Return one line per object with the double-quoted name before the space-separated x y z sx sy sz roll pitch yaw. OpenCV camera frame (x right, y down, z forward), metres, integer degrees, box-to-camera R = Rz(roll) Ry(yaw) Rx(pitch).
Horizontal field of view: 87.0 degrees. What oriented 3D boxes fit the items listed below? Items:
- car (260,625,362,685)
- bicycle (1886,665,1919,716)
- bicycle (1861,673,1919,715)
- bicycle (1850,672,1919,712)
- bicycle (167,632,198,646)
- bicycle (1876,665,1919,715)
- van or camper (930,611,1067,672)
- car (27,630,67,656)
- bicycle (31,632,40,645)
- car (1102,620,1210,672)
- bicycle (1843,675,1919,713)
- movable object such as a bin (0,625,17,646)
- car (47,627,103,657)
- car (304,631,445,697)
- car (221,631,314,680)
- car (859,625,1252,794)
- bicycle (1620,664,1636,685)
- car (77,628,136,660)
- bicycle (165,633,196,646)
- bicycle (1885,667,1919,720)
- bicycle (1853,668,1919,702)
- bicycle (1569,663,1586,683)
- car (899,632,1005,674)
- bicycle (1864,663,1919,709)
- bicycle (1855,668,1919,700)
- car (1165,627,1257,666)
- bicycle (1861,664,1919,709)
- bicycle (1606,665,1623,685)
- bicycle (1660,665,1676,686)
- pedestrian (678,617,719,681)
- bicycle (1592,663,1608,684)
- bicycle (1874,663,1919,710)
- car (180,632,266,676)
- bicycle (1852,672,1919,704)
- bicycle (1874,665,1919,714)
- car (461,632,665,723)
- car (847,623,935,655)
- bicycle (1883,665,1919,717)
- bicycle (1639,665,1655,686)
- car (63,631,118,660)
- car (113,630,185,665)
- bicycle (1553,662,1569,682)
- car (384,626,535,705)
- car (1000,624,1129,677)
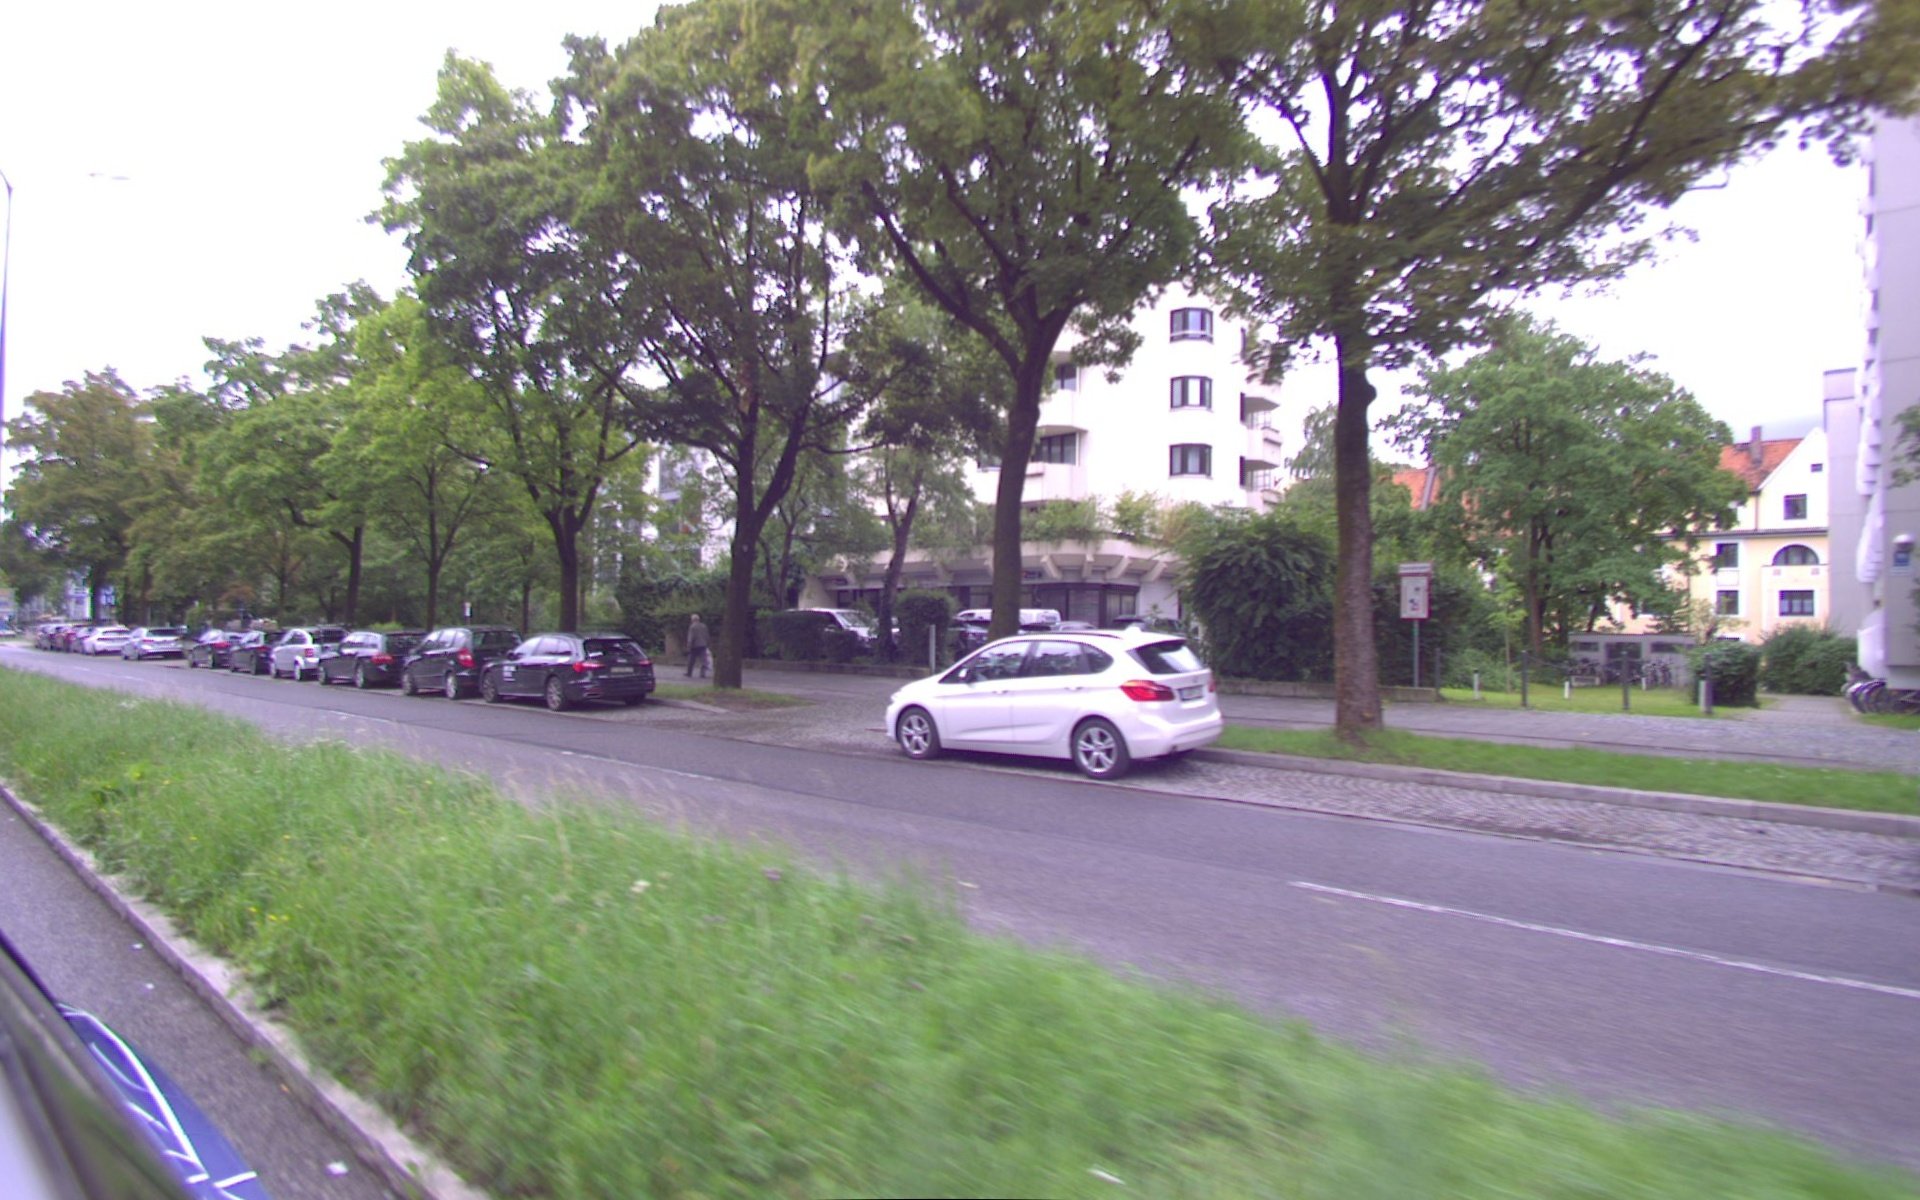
"car" -19.581 1.607 30.480 3.866 1.660 1.608 -2 0 42
"bicycle" 17.853 1.666 18.419 1.450 0.907 0.453 -1 -3 41
"bicycle" 21.923 2.182 23.510 1.450 0.907 0.453 -1 -3 41
"bicycle" 22.503 2.218 24.484 1.450 0.907 0.453 -1 -3 41
"bicycle" -58.074 2.931 75.592 0.436 1.014 1.744 -2 -3 41
"bicycle" 18.084 1.683 18.866 1.450 0.907 0.453 -1 -3 41
"van or camper" 1.224 1.344 33.546 4.430 1.885 1.837 -2 -3 42
"car" -60.133 2.797 66.648 3.819 1.626 1.629 -2 -1 43
"bicycle" -79.348 3.312 86.865 1.954 1.086 0.403 -2 1 44
"car" 6.527 1.485 33.450 1.787 1.603 3.935 -2 -3 41
"bicycle" 23.836 2.418 26.210 1.450 0.907 0.453 -1 -3 41
"movable object such as a bin" -92.301 3.360 96.886 3.991 1.968 2.174 -1 -3 35
"car" -51.675 2.433 59.076 4.602 1.664 1.721 -2 -1 40
"car" -15.698 1.631 26.998 5.031 1.536 1.698 -2 0 41
"car" -22.949 1.785 33.475 4.191 1.434 1.608 -2 0 42
"car" 0.991 1.144 12.110 4.486 1.607 1.739 -2 0 40
"bicycle" 30.299 3.383 45.917 0.415 0.888 1.430 -2 -3 41
"car" -44.175 2.265 52.374 4.473 1.541 1.720 -2 -1 42
"bicycle" -58.523 2.960 75.978 0.436 1.014 1.744 -2 -3 41
"bicycle" 17.229 1.637 17.513 1.765 0.907 0.472 -1 -3 41
"bicycle" 26.889 2.465 29.361 1.450 0.907 0.453 -1 -3 41
"bicycle" 28.979 3.406 47.467 0.415 0.888 1.430 -2 -3 41
"car" -0.269 1.588 30.985 3.126 1.209 1.440 -2 -3 42
"bicycle" 19.359 1.752 20.565 1.450 0.907 0.453 -1 -3 41
"bicycle" 28.088 2.533 30.662 1.450 0.907 0.409 -1 -3 41
"car" 9.166 1.665 36.773 1.635 1.311 3.935 -2 -3 41
"bicycle" 19.821 1.802 21.140 1.450 0.907 0.453 -1 -3 41
"bicycle" 29.994 3.420 46.380 0.415 0.888 1.430 -2 -3 41
"bicycle" 31.468 3.366 44.985 0.415 0.888 1.430 -2 -3 41
"pedestrian" -6.994 1.294 27.043 0.608 1.669 0.840 -1 -3 40
"bicycle" 29.599 3.391 46.805 0.415 0.888 1.430 -2 -3 41
"bicycle" 19.022 1.716 19.962 1.450 0.907 0.453 -1 -3 41
"car" -26.992 1.926 37.010 4.360 1.434 1.564 -2 0 41
"bicycle" 27.711 2.628 30.329 1.450 0.907 0.409 -1 -3 41
"bicycle" 18.406 1.717 19.268 1.450 0.907 0.453 -1 -3 41
"car" -7.982 1.430 20.085 4.946 1.525 1.741 -2 0 42
"car" -2.533 1.413 36.788 3.126 1.092 1.440 -2 -3 42
"bicycle" 17.540 1.634 17.888 1.765 0.907 0.472 -1 -3 41
"bicycle" 30.870 3.375 45.480 0.415 0.888 1.430 -2 -3 41
"car" -48.017 2.479 55.854 4.332 1.494 1.720 -2 -1 42
"car" -36.894 2.111 46.012 4.820 1.459 1.718 -2 0 41
"bicycle" 28.429 3.411 47.869 0.415 0.888 1.430 -2 -3 41
"car" -11.579 1.443 23.284 4.209 1.609 1.668 -2 0 42
"car" 3.063 1.418 29.100 1.861 1.429 3.937 -2 -2 39
